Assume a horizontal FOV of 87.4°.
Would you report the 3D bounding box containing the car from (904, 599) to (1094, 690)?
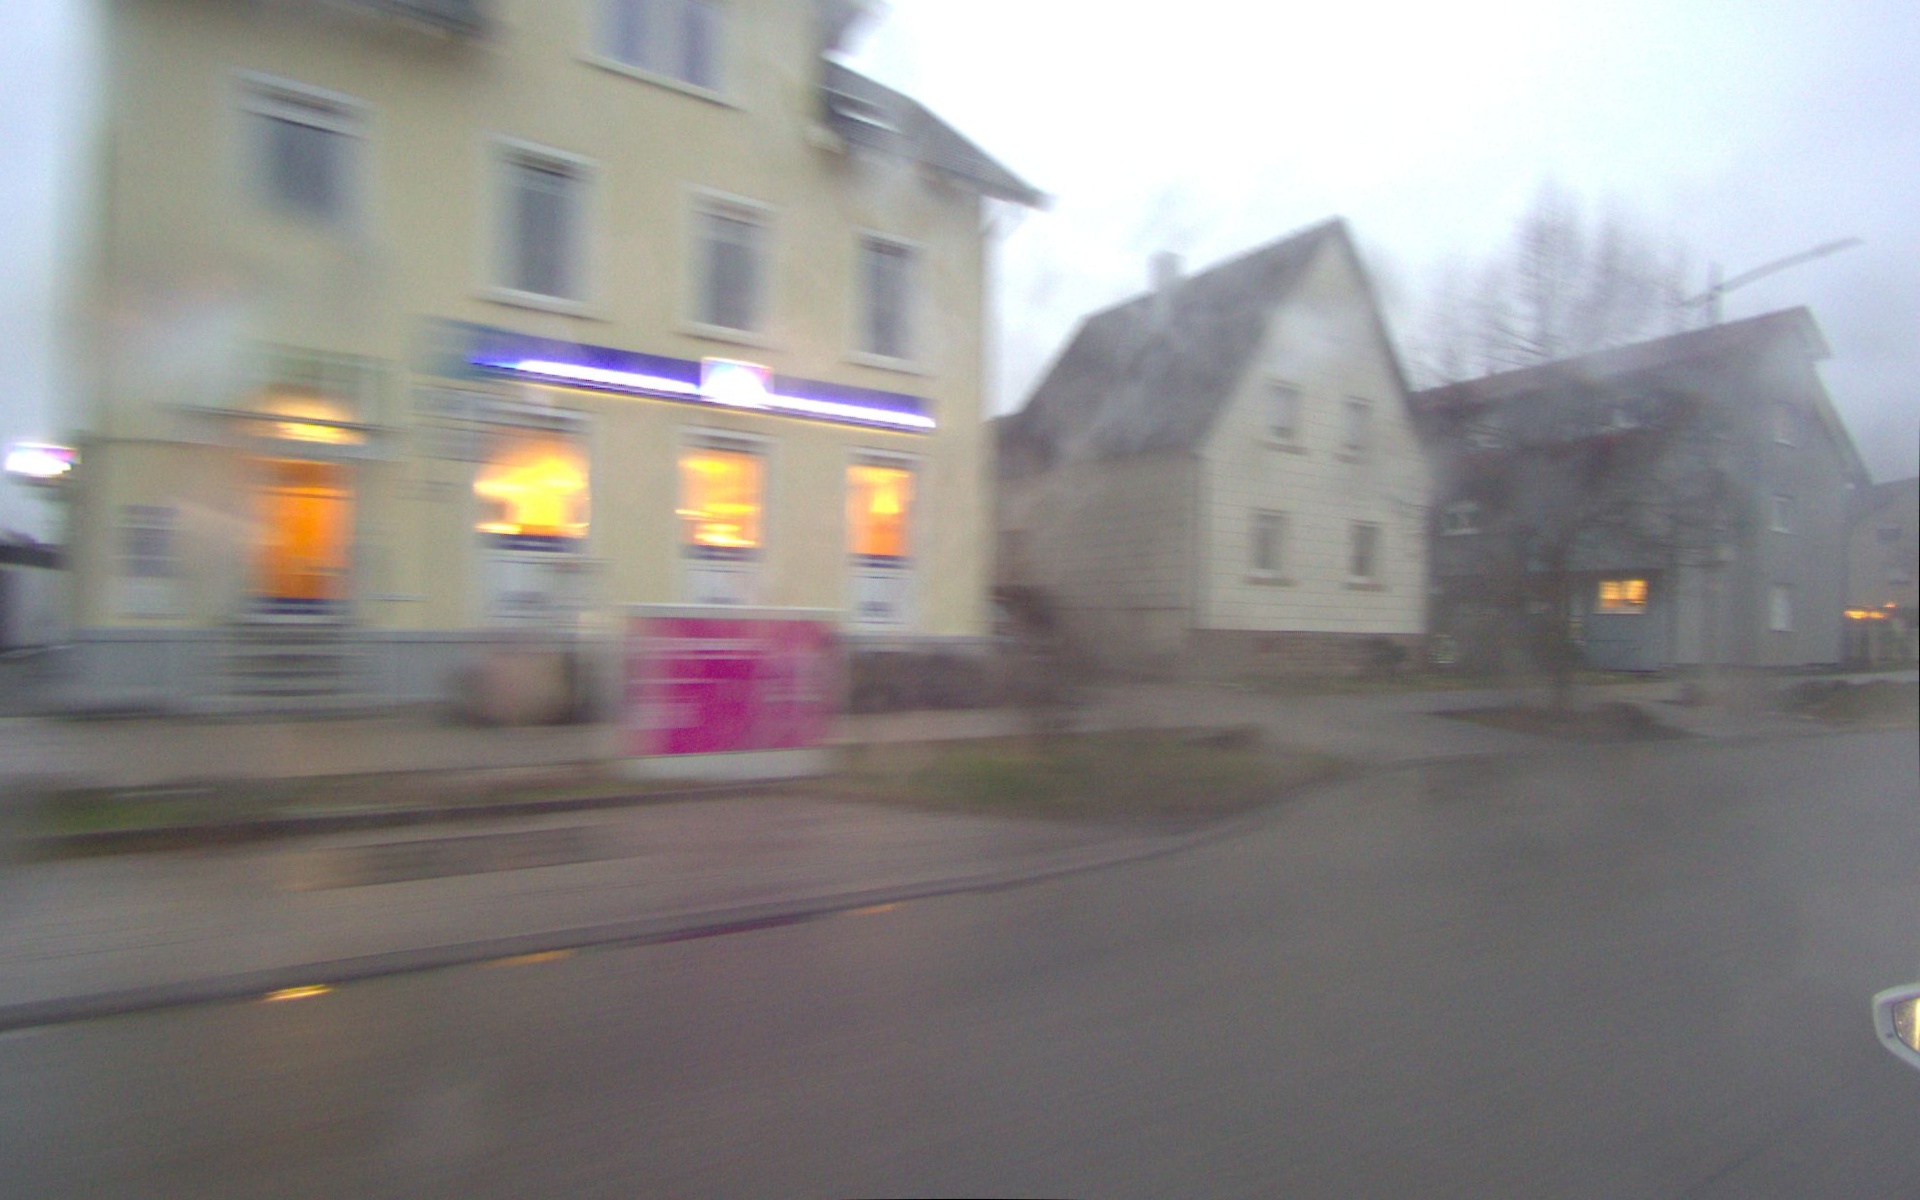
[{"bbox_3d":[0.656,0.828,19.987,1.901,1.621,3.966,2,-1,-32],"label":"car"}]
